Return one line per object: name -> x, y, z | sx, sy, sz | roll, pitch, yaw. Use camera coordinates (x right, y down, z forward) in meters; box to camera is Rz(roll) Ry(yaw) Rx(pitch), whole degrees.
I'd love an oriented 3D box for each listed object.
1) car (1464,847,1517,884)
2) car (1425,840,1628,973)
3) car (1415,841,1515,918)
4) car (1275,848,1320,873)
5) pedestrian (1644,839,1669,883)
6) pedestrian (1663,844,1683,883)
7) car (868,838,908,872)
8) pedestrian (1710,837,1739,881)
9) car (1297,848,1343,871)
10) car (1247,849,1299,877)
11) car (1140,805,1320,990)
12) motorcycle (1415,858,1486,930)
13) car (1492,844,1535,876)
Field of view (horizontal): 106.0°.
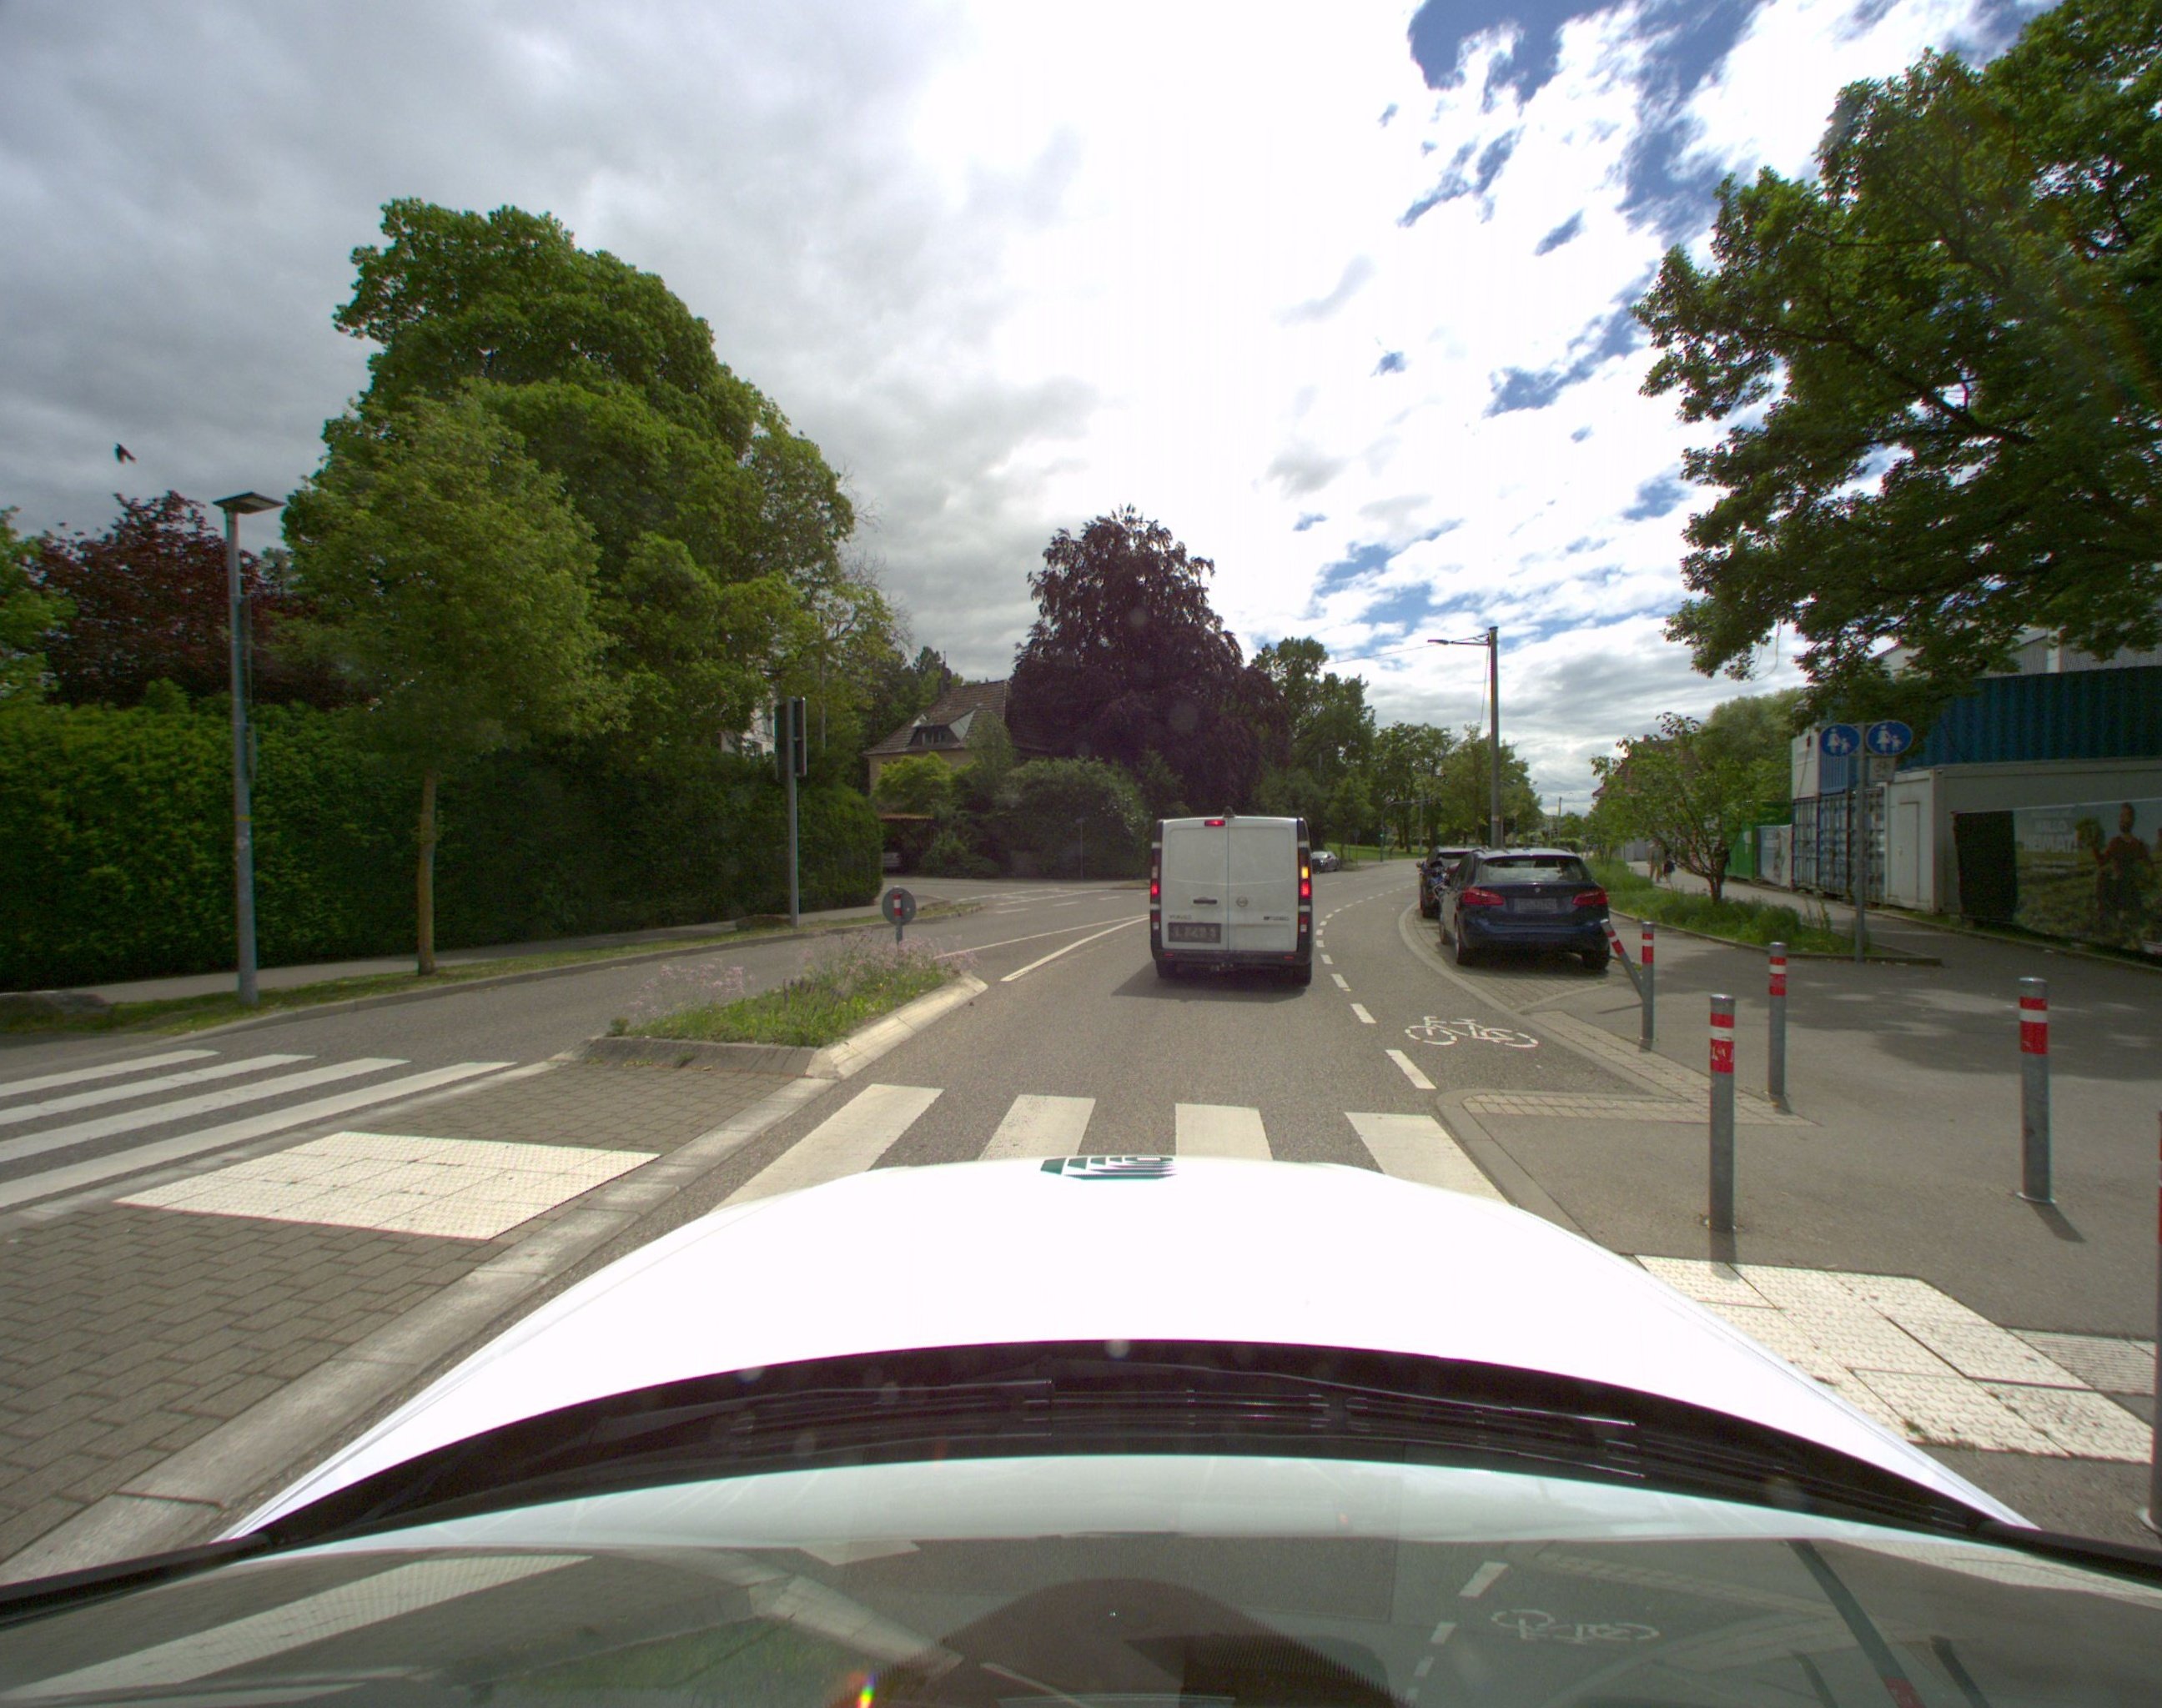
car -> 18.136, 0.489, 35.961 | 1.748, 1.477, 4.966 | -3, -1, 30
car -> 6.307, 0.641, 12.089 | 1.901, 1.578, 4.451 | -2, 0, 19
car -> 9.136, 0.555, 19.733 | 1.862, 1.621, 4.872 | -2, 0, 22
car -> 13.276, 0.388, 49.890 | 1.580, 1.450, 3.619 | 1, 1, 33
pedestrian -> 22.432, 0.269, 31.766 | 0.645, 1.696, 0.729 | 0, 0, 23
pedestrian -> 26.497, 0.414, 36.450 | 0.645, 1.697, 0.850 | 0, 0, 29
car -> -9.240, 0.005, 39.249 | 1.723, 1.509, 3.985 | 0, 1, -11
pedestrian -> 23.804, 0.181, 30.149 | 0.735, 1.618, 0.772 | 0, 0, 29
car -> 15.732, 0.344, 53.466 | 1.679, 1.365, 4.716 | 2, 1, 31
car -> 10.818, 0.465, 45.647 | 1.634, 1.450, 4.131 | 1, 1, 31
car -> 2.240, 0.458, 11.228 | 1.924, 1.960, 4.853 | 0, 0, 15
motorcycle -> 7.360, 0.766, 16.352 | 1.062, 1.305, 2.272 | -3, -1, 20
car -> 23.938, 0.328, 44.974 | 1.720, 1.616, 4.414 | -3, -1, 32
